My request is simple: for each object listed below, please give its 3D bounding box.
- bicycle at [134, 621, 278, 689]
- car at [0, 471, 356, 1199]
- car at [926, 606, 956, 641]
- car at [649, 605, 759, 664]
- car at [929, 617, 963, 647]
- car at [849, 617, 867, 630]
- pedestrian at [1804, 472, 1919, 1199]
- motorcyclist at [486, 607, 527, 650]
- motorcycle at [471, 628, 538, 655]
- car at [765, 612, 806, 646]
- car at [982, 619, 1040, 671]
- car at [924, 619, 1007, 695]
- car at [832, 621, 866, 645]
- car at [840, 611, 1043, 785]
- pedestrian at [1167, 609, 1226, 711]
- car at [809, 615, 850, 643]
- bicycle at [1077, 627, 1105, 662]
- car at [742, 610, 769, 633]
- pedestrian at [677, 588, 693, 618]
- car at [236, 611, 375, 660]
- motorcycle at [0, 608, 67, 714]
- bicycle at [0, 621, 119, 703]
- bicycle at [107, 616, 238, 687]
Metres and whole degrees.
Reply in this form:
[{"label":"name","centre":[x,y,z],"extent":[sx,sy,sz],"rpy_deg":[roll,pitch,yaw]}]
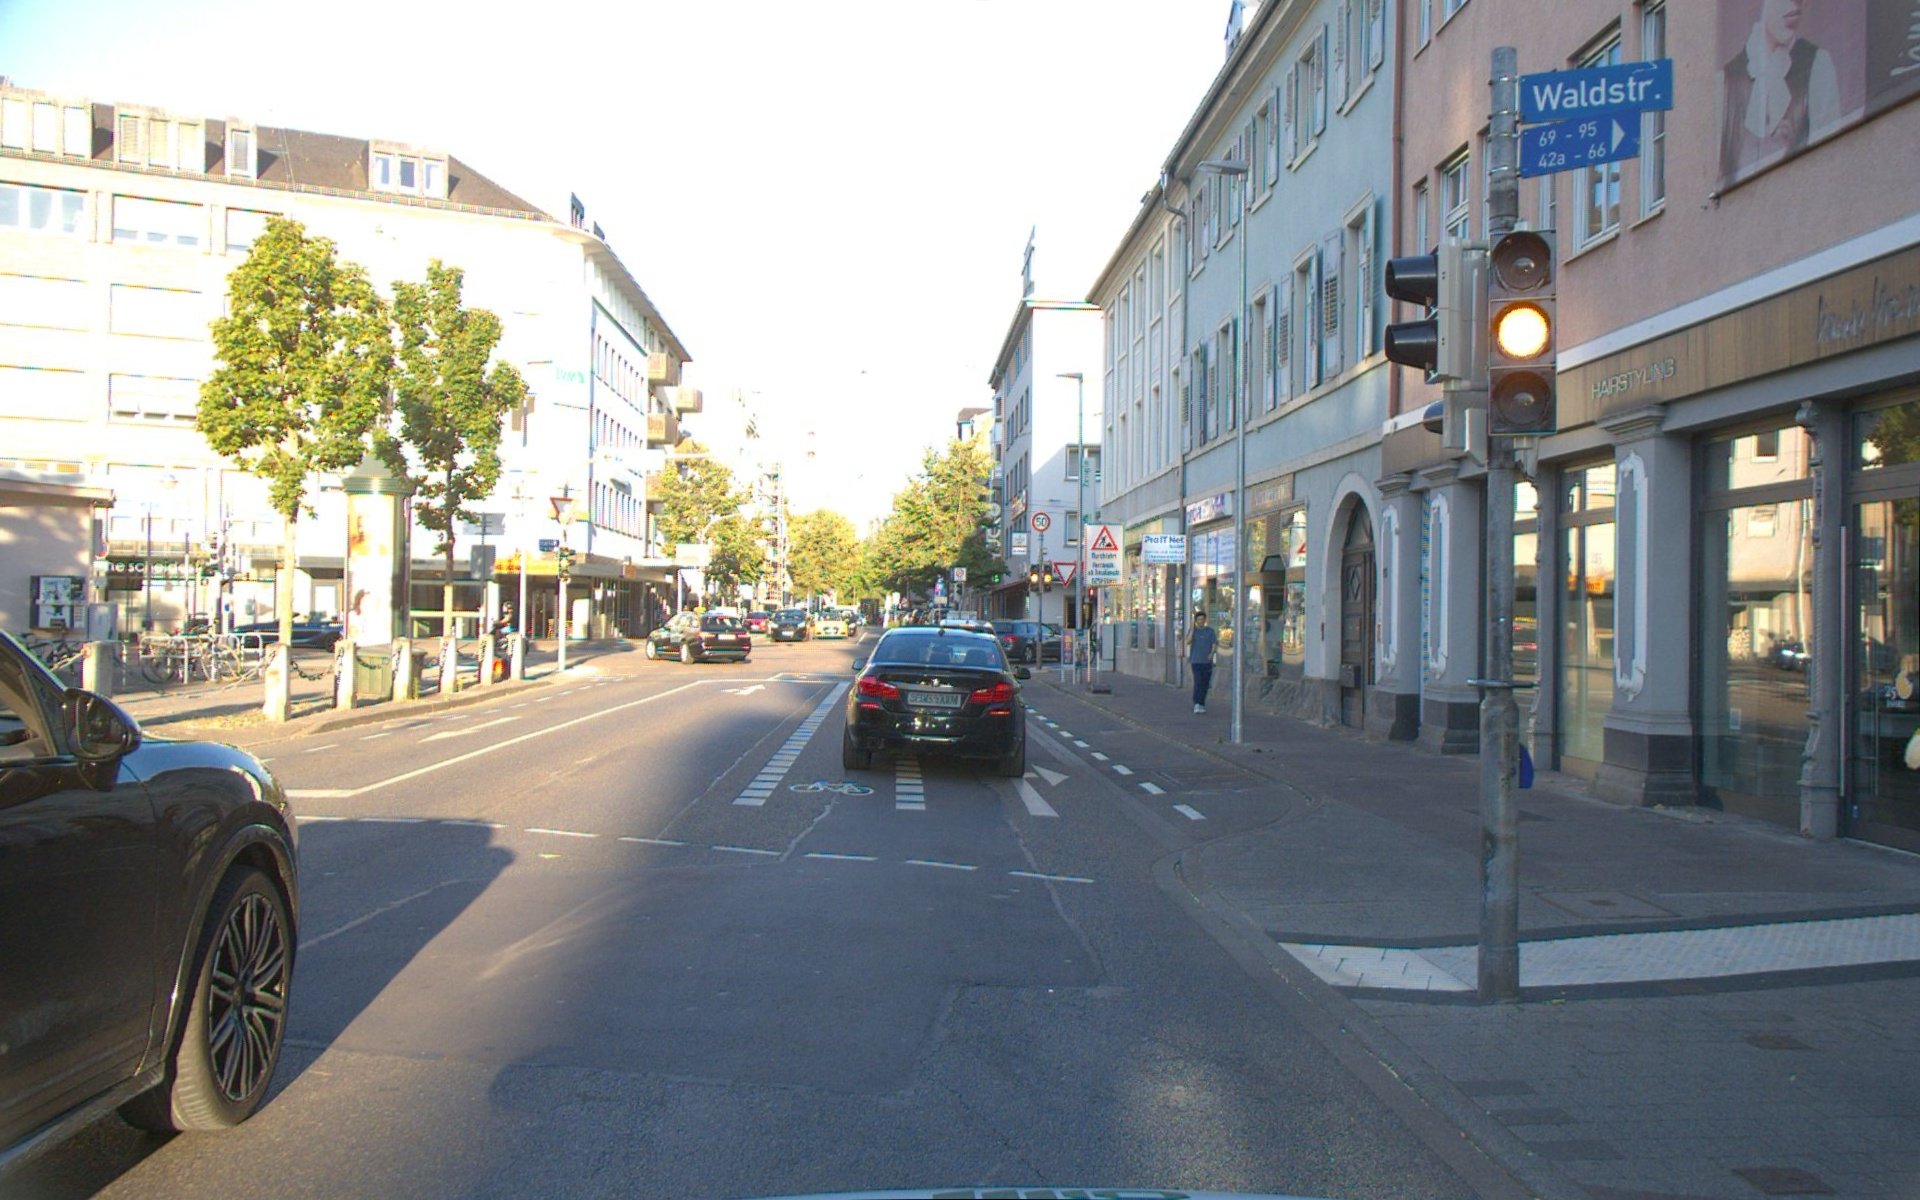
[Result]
[{"label":"bicycle","centre":[-14.620,1.058,32.110],"extent":[2.394,1.278,0.787],"rpy_deg":[1,-1,-1]},{"label":"car","centre":[-2.847,0.613,3.099],"extent":[1.909,1.744,4.559],"rpy_deg":[0,0,-3]},{"label":"car","centre":[-1.056,1.316,92.984],"extent":[1.393,1.887,3.049],"rpy_deg":[2,-1,-5]},{"label":"car","centre":[-7.608,0.984,48.864],"extent":[1.851,1.623,4.408],"rpy_deg":[1,-1,-28]},{"label":"car","centre":[-0.761,1.668,86.582],"extent":[1.593,1.497,3.392],"rpy_deg":[2,-1,-3]},{"label":"car","centre":[-11.138,2.578,180.912],"extent":[1.701,1.315,3.992],"rpy_deg":[1,-1,-8]},{"label":"pedestrian","centre":[2.934,0.637,4.494],"extent":[0.930,1.931,0.816],"rpy_deg":[1,-1,-35]},{"label":"motorcyclist","centre":[-14.542,0.902,53.071],"extent":[0.970,1.343,0.768],"rpy_deg":[1,-1,18]},{"label":"motorcycle","centre":[-14.637,1.331,53.136],"extent":[1.983,0.794,0.664],"rpy_deg":[1,-1,16]},{"label":"car","centre":[-8.876,1.454,83.906],"extent":[1.956,1.646,3.992],"rpy_deg":[1,-1,-8]},{"label":"car","centre":[1.731,1.477,55.403],"extent":[1.794,1.603,4.102],"rpy_deg":[1,0,3]},{"label":"car","centre":[0.087,1.268,38.334],"extent":[1.795,1.603,4.099],"rpy_deg":[1,0,-1]},{"label":"car","centre":[-6.472,1.927,96.306],"extent":[1.701,1.315,3.992],"rpy_deg":[1,-1,-8]},{"label":"car","centre":[-0.304,0.958,18.021],"extent":[1.866,1.567,4.446],"rpy_deg":[3,-1,-3]},{"label":"pedestrian","centre":[3.960,0.993,27.703],"extent":[0.807,1.670,0.871],"rpy_deg":[1,-1,-4]},{"label":"car","centre":[-7.084,1.544,89.515],"extent":[1.956,1.467,3.992],"rpy_deg":[1,-1,-8]},{"label":"bicycle","centre":[4.290,1.454,54.256],"extent":[0.676,1.126,1.895],"rpy_deg":[1,-1,-2]},{"label":"car","centre":[-13.720,1.455,110.714],"extent":[1.701,1.487,3.992],"rpy_deg":[1,-1,-8]},{"label":"pedestrian","centre":[-15.810,0.162,94.963],"extent":[0.807,1.706,0.871],"rpy_deg":[1,-1,-3]},{"label":"car","centre":[-21.462,1.172,54.387],"extent":[3.918,1.512,1.994],"rpy_deg":[1,-1,-13]},{"label":"motorcycle","centre":[-13.982,0.832,23.080],"extent":[2.529,1.455,0.868],"rpy_deg":[1,-1,-1]},{"label":"bicycle","centre":[-14.437,0.978,26.272],"extent":[1.816,1.278,0.632],"rpy_deg":[1,-1,-1]},{"label":"bicycle","centre":[-14.664,0.955,30.830],"extent":[1.965,1.278,0.949],"rpy_deg":[1,-1,-1]}]
